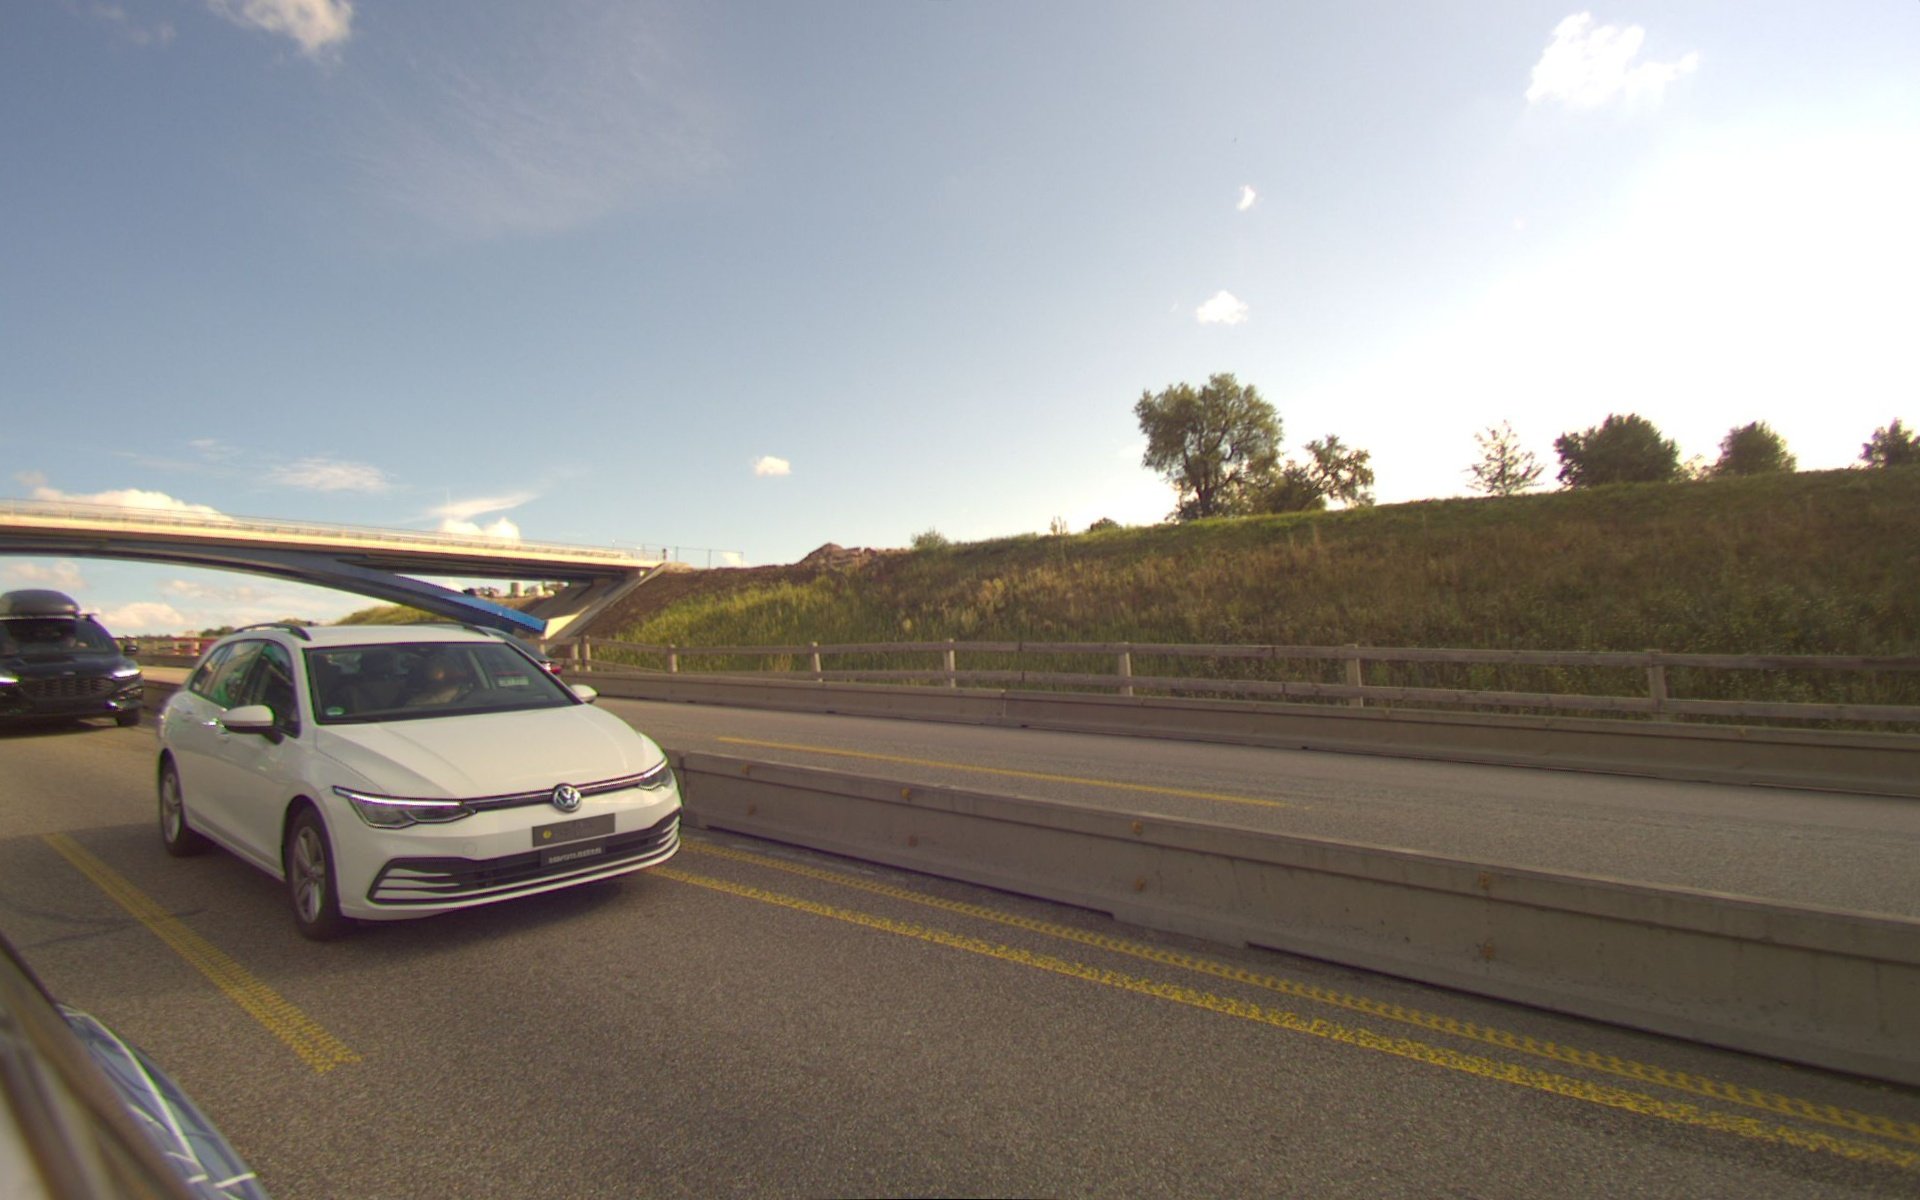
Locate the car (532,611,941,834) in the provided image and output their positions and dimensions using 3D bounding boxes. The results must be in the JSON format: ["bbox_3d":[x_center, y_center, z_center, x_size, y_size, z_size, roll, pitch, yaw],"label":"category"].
[{"bbox_3d":[-2.290,0.997,9.798,3.998,1.615,1.802,-2,2,41],"label":"car"}]

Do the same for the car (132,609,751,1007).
[{"bbox_3d":[-3.325,0.851,6.026,4.372,1.507,1.802,-2,-1,41],"label":"car"}]

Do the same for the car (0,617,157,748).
[{"bbox_3d":[-13.544,1.121,15.009,4.258,1.690,1.831,-2,-2,41],"label":"car"}]
